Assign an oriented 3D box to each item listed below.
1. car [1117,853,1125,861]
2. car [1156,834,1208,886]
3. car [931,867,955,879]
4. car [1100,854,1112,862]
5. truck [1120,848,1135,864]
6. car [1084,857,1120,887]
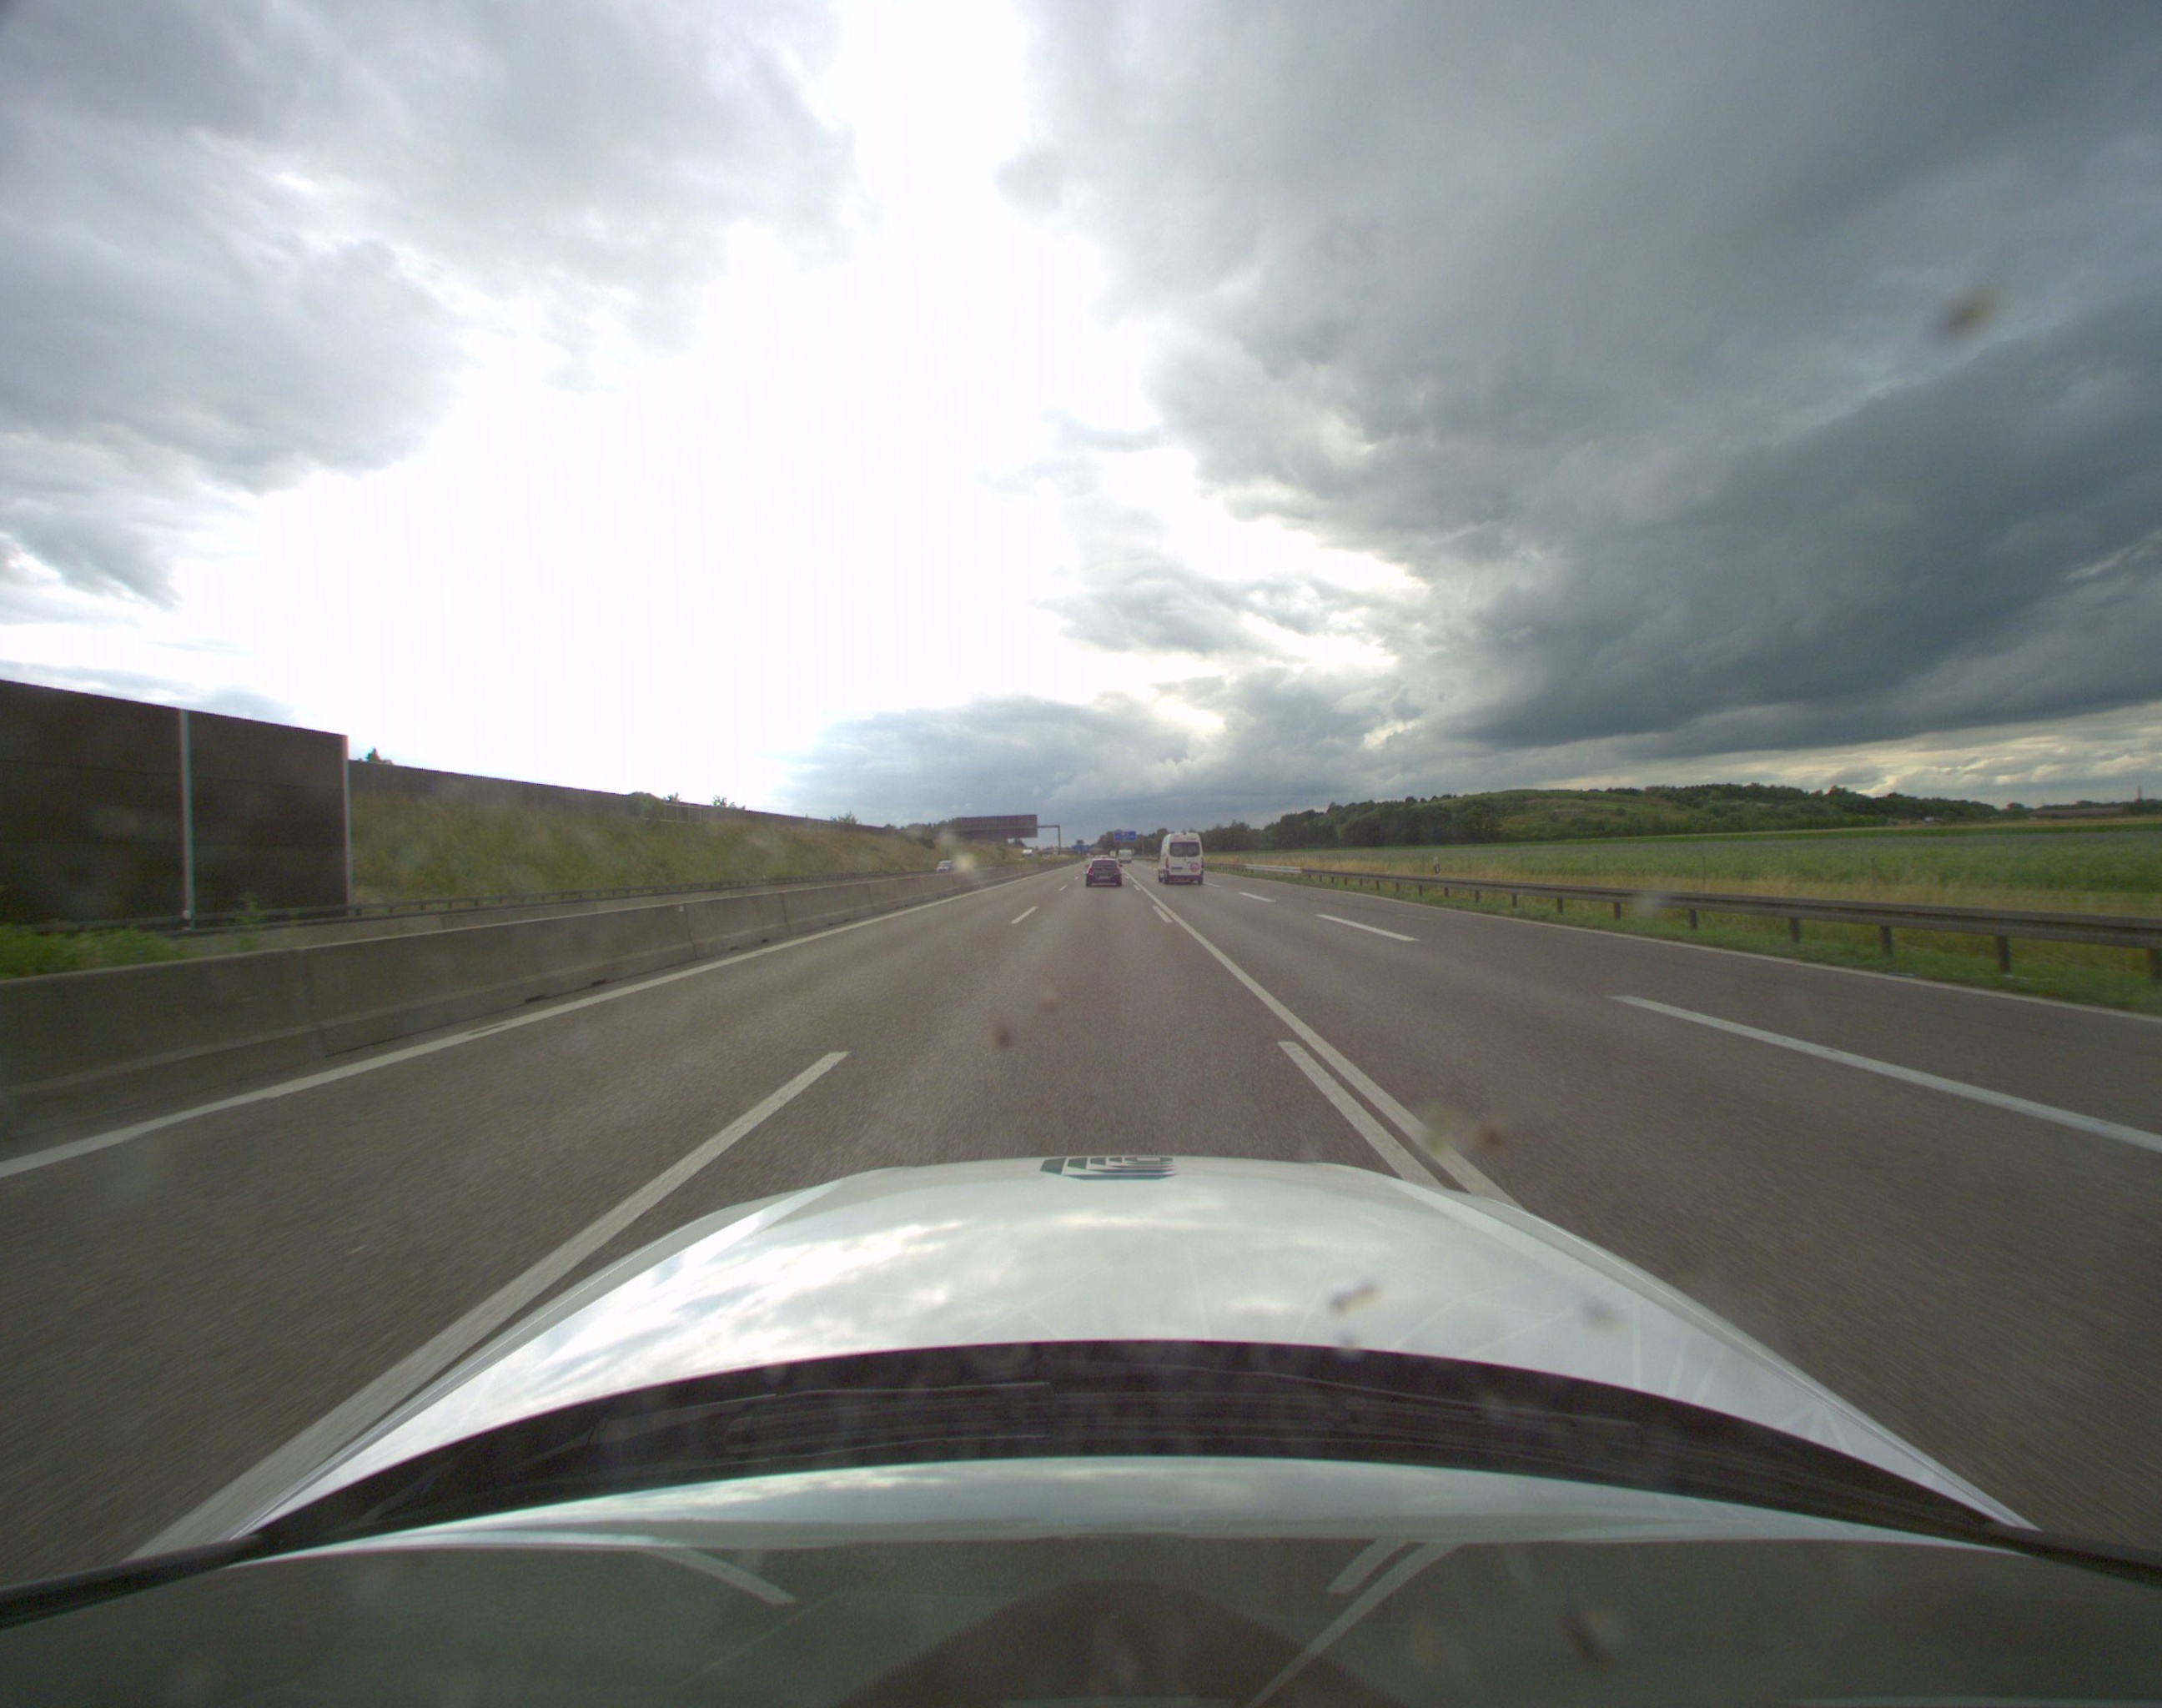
[{"bbox_3d":[10.360,0.785,210.037,1.986,2.013,4.001,-2,0,1],"label":"car"},{"bbox_3d":[5.375,0.302,44.305,2.213,2.568,6.259,-1,0,2],"label":"car"},{"bbox_3d":[-16.950,2.345,100.432,1.986,1.364,4.942,0,0,1],"label":"car"},{"bbox_3d":[4.022,0.664,131.915,1.986,1.298,4.001,-2,0,1],"label":"car"},{"bbox_3d":[8.898,0.424,156.938,2.700,2.964,12.451,0,0,2],"label":"truck"},{"bbox_3d":[1.081,0.853,41.053,1.737,1.389,4.002,-1,0,2],"label":"car"}]
